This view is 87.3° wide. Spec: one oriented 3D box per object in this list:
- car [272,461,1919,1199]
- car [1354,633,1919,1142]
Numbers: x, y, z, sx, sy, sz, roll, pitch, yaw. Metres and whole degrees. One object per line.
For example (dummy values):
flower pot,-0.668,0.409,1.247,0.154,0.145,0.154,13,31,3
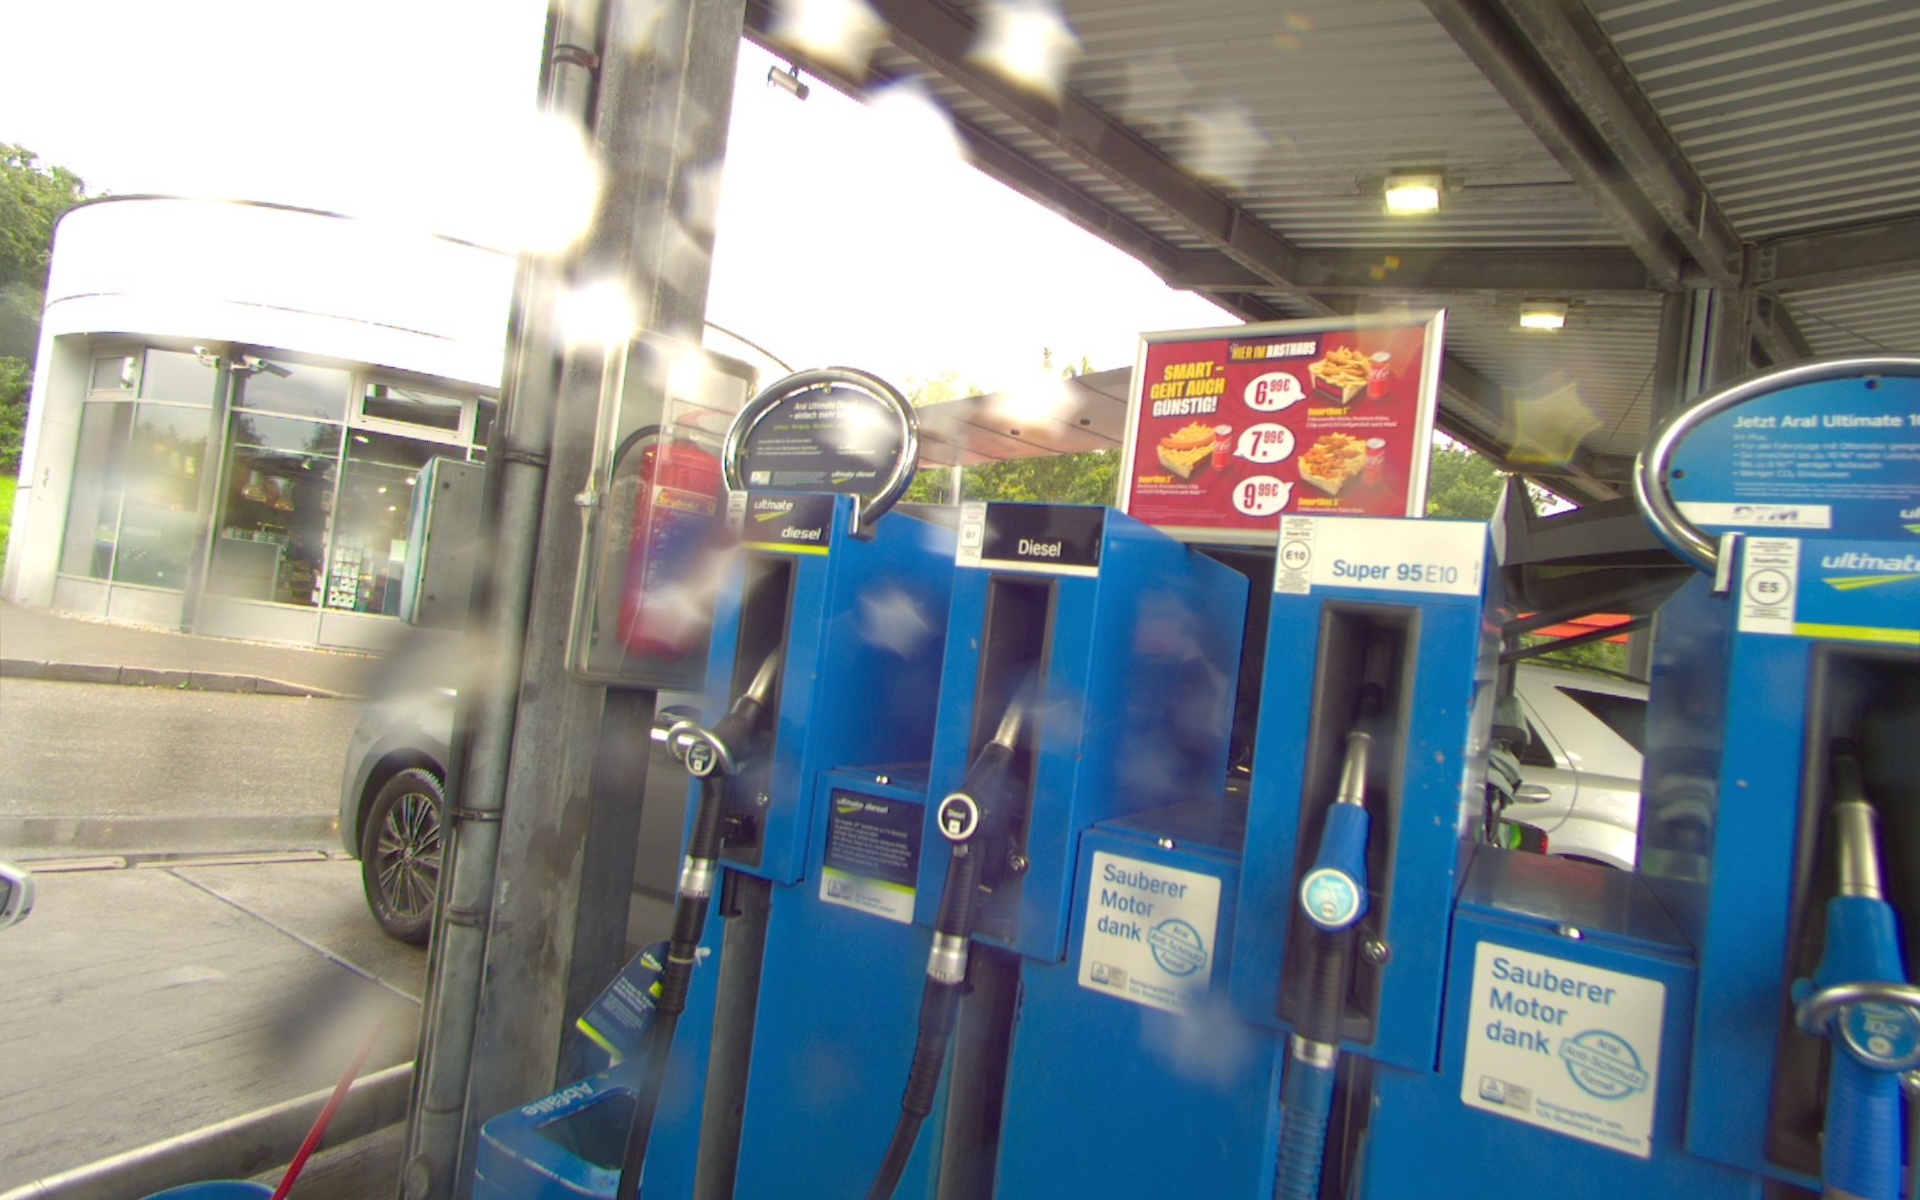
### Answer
car,-0.142,0.646,3.659,5.055,1.819,1.865,6,-2,32
car,4.494,1.372,4.802,4.464,1.819,1.865,6,-2,32
